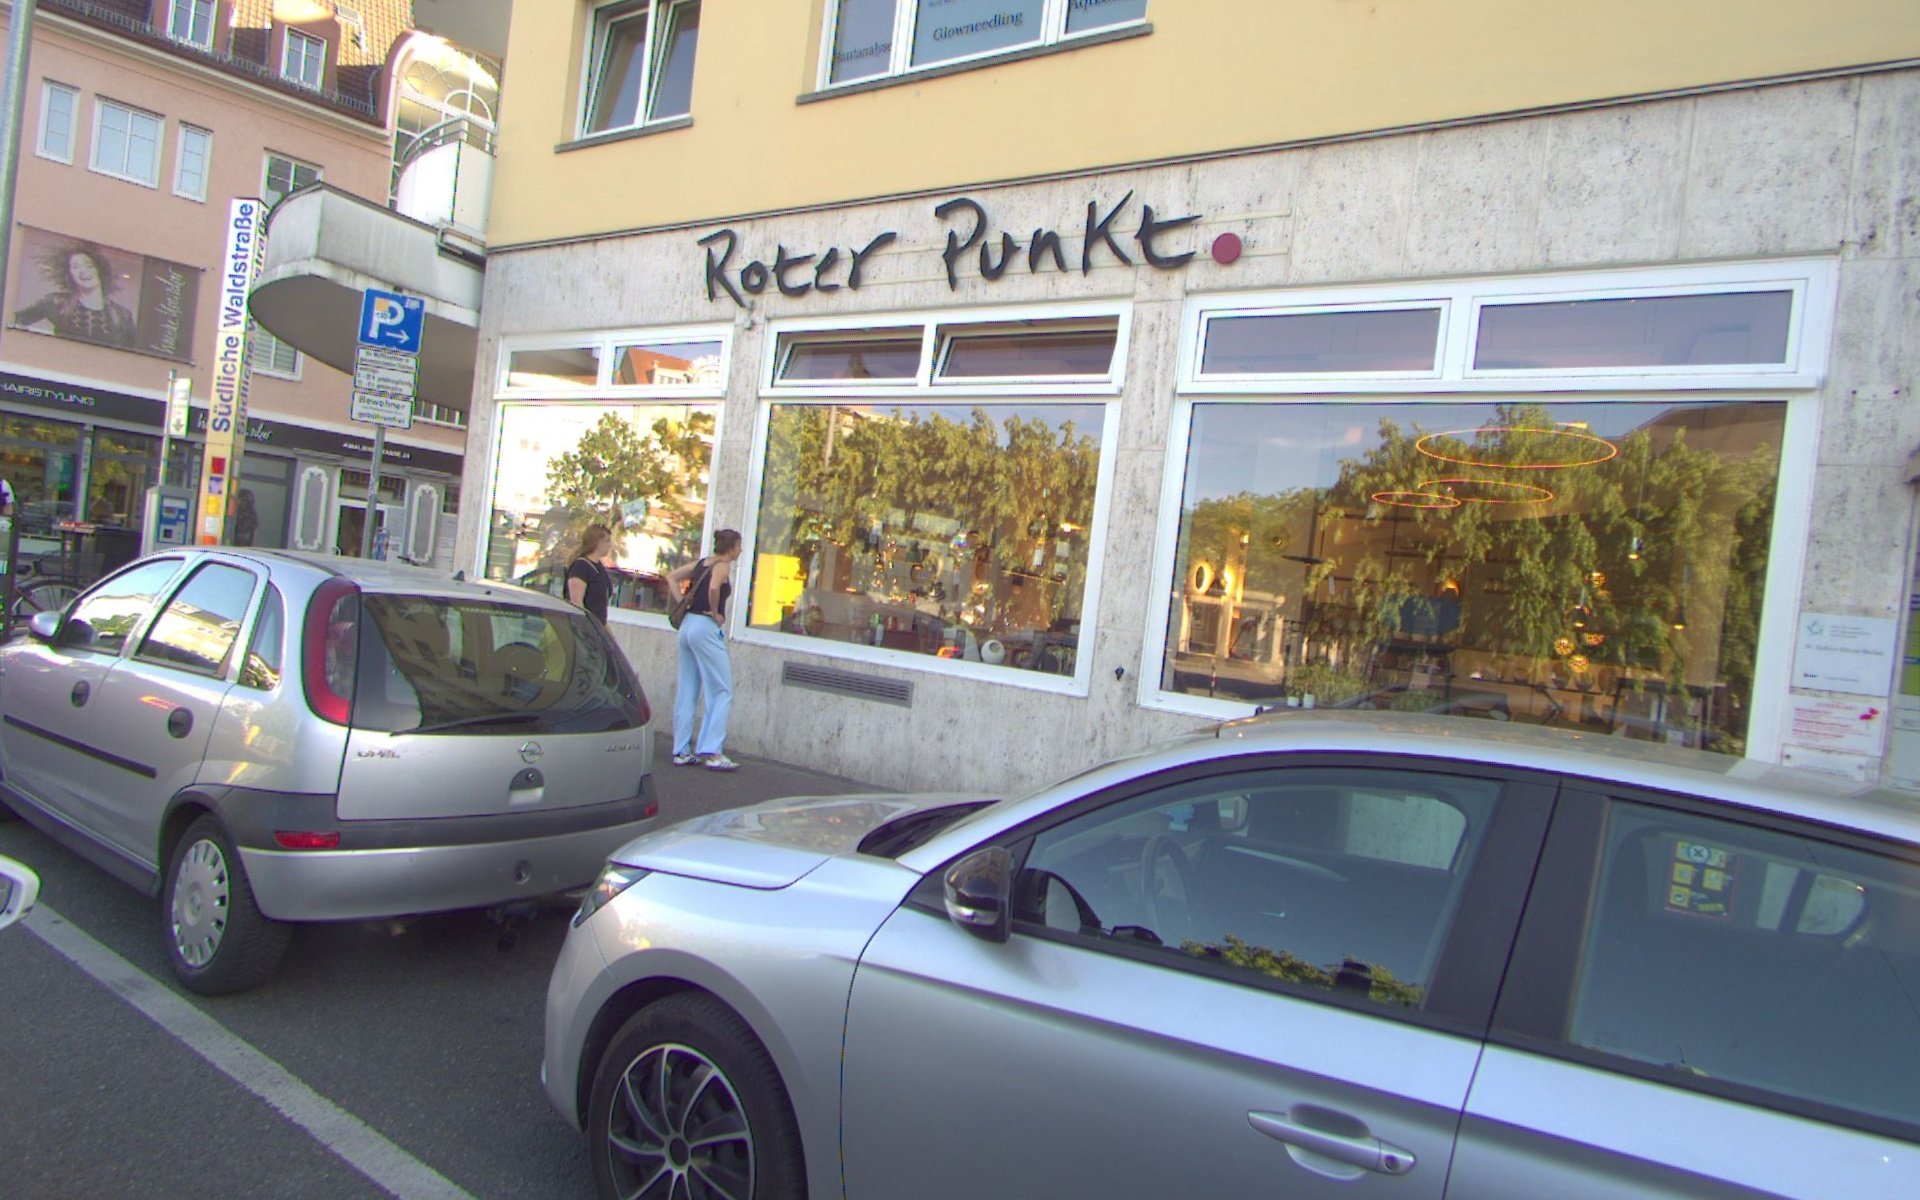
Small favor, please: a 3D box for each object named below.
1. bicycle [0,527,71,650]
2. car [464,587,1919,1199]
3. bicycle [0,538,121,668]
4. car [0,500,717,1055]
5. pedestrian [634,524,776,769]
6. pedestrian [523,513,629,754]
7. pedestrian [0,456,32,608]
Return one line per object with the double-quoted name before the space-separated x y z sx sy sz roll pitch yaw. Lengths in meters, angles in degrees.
"bicycle" -9.099 -0.147 8.815 0.408 1.101 1.872 6 1 35
"car" 0.765 0.923 2.278 3.598 1.444 1.550 6 -1 30
"bicycle" -8.118 0.000 8.210 0.348 1.051 1.871 6 1 38
"car" -2.928 0.469 4.432 3.419 1.407 1.548 8 0 33
"pedestrian" -1.878 0.337 7.385 0.642 1.685 0.653 7 0 -35
"pedestrian" -3.076 0.263 8.119 0.560 1.805 0.740 7 0 -18
"pedestrian" -11.889 -0.868 12.110 0.823 1.785 0.751 6 -1 36
